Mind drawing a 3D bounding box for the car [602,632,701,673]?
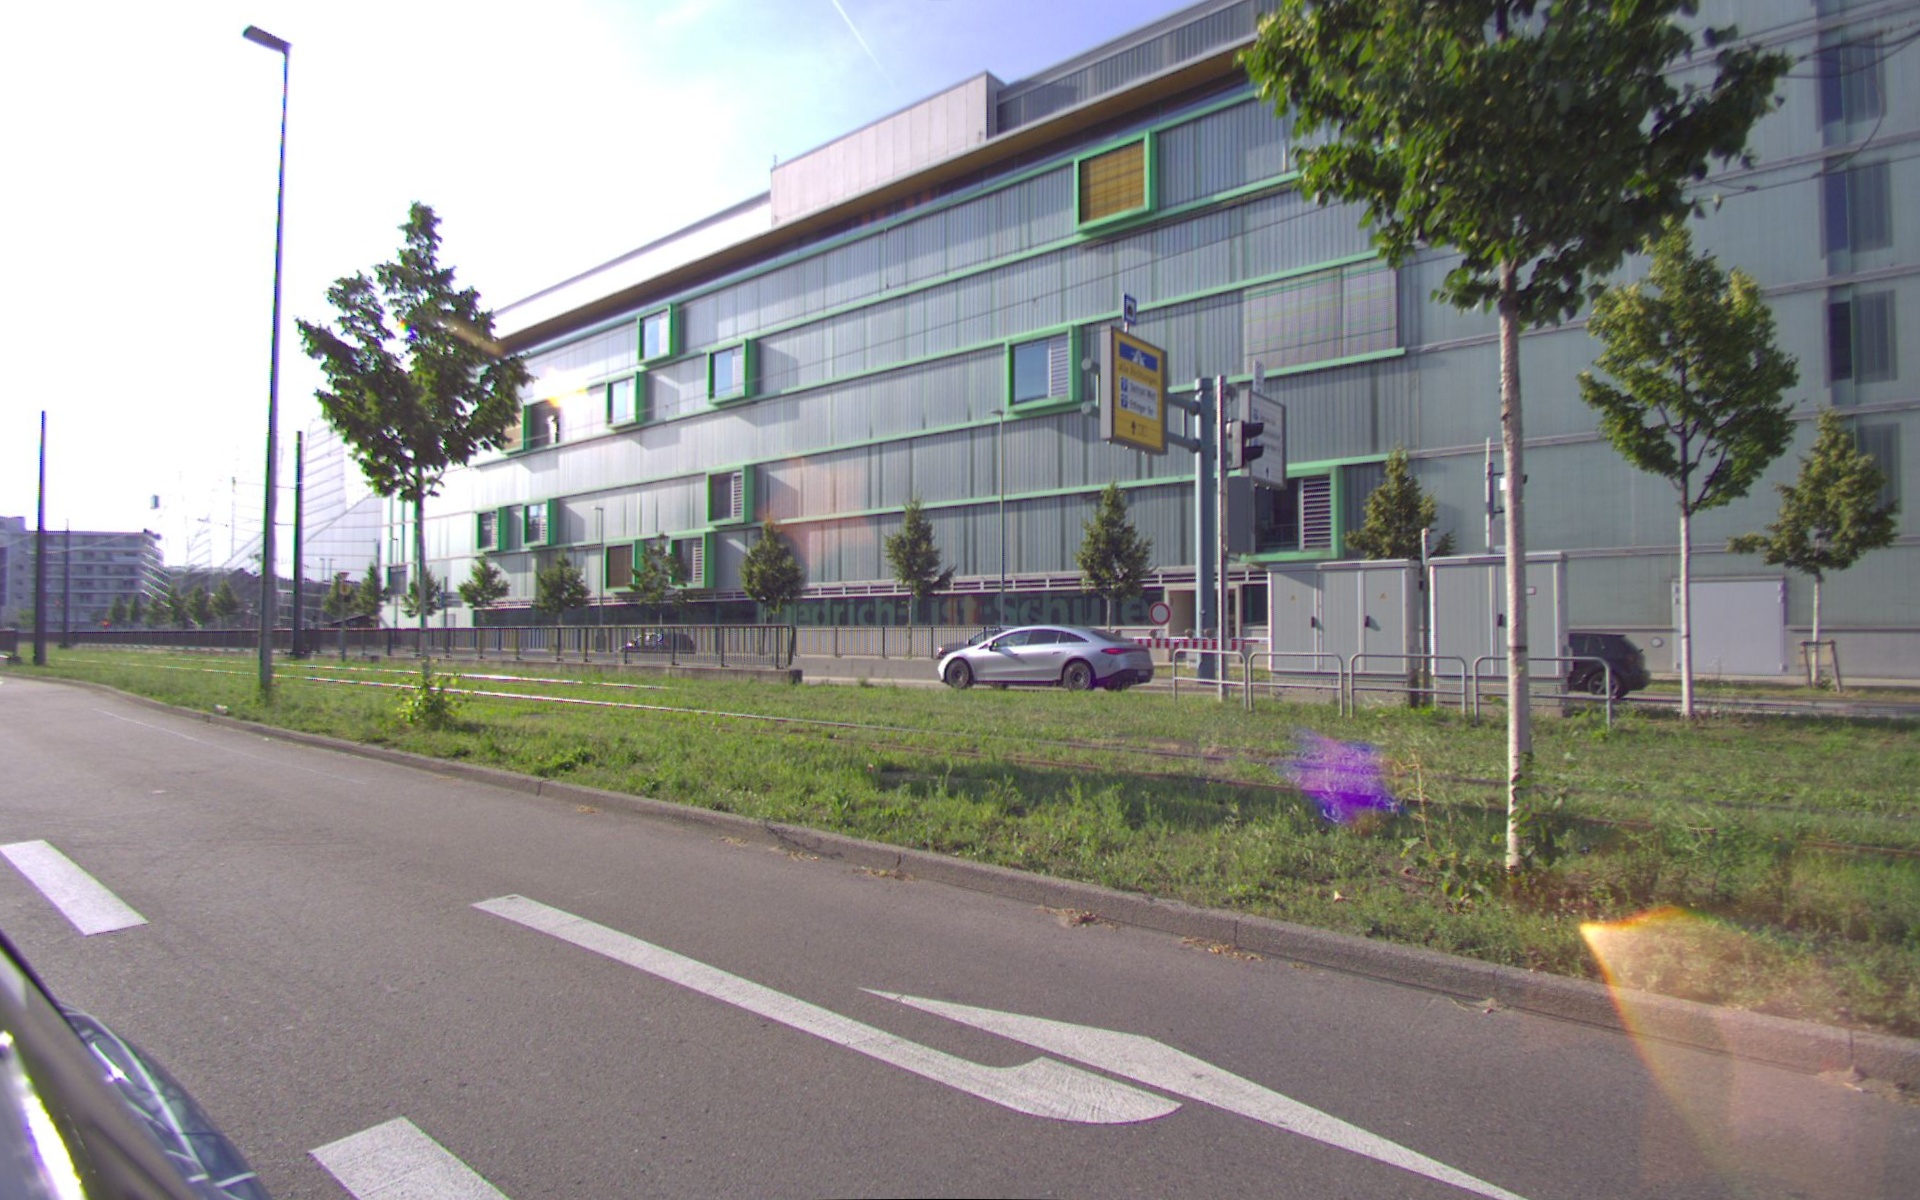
[{"bbox_3d":[-13.831,2.333,45.295,4.721,1.700,1.974,-2,-3,39],"label":"car"}]

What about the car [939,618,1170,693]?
[{"bbox_3d":[2.069,1.234,22.938,4.903,1.539,1.975,-2,-3,36],"label":"car"}]

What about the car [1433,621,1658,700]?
[{"bbox_3d":[13.347,1.335,23.188,4.177,1.647,1.889,-2,-2,41],"label":"car"}]

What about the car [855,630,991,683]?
[{"bbox_3d":[-1.343,1.936,35.197,4.612,1.700,1.974,-2,-3,39],"label":"car"}]
